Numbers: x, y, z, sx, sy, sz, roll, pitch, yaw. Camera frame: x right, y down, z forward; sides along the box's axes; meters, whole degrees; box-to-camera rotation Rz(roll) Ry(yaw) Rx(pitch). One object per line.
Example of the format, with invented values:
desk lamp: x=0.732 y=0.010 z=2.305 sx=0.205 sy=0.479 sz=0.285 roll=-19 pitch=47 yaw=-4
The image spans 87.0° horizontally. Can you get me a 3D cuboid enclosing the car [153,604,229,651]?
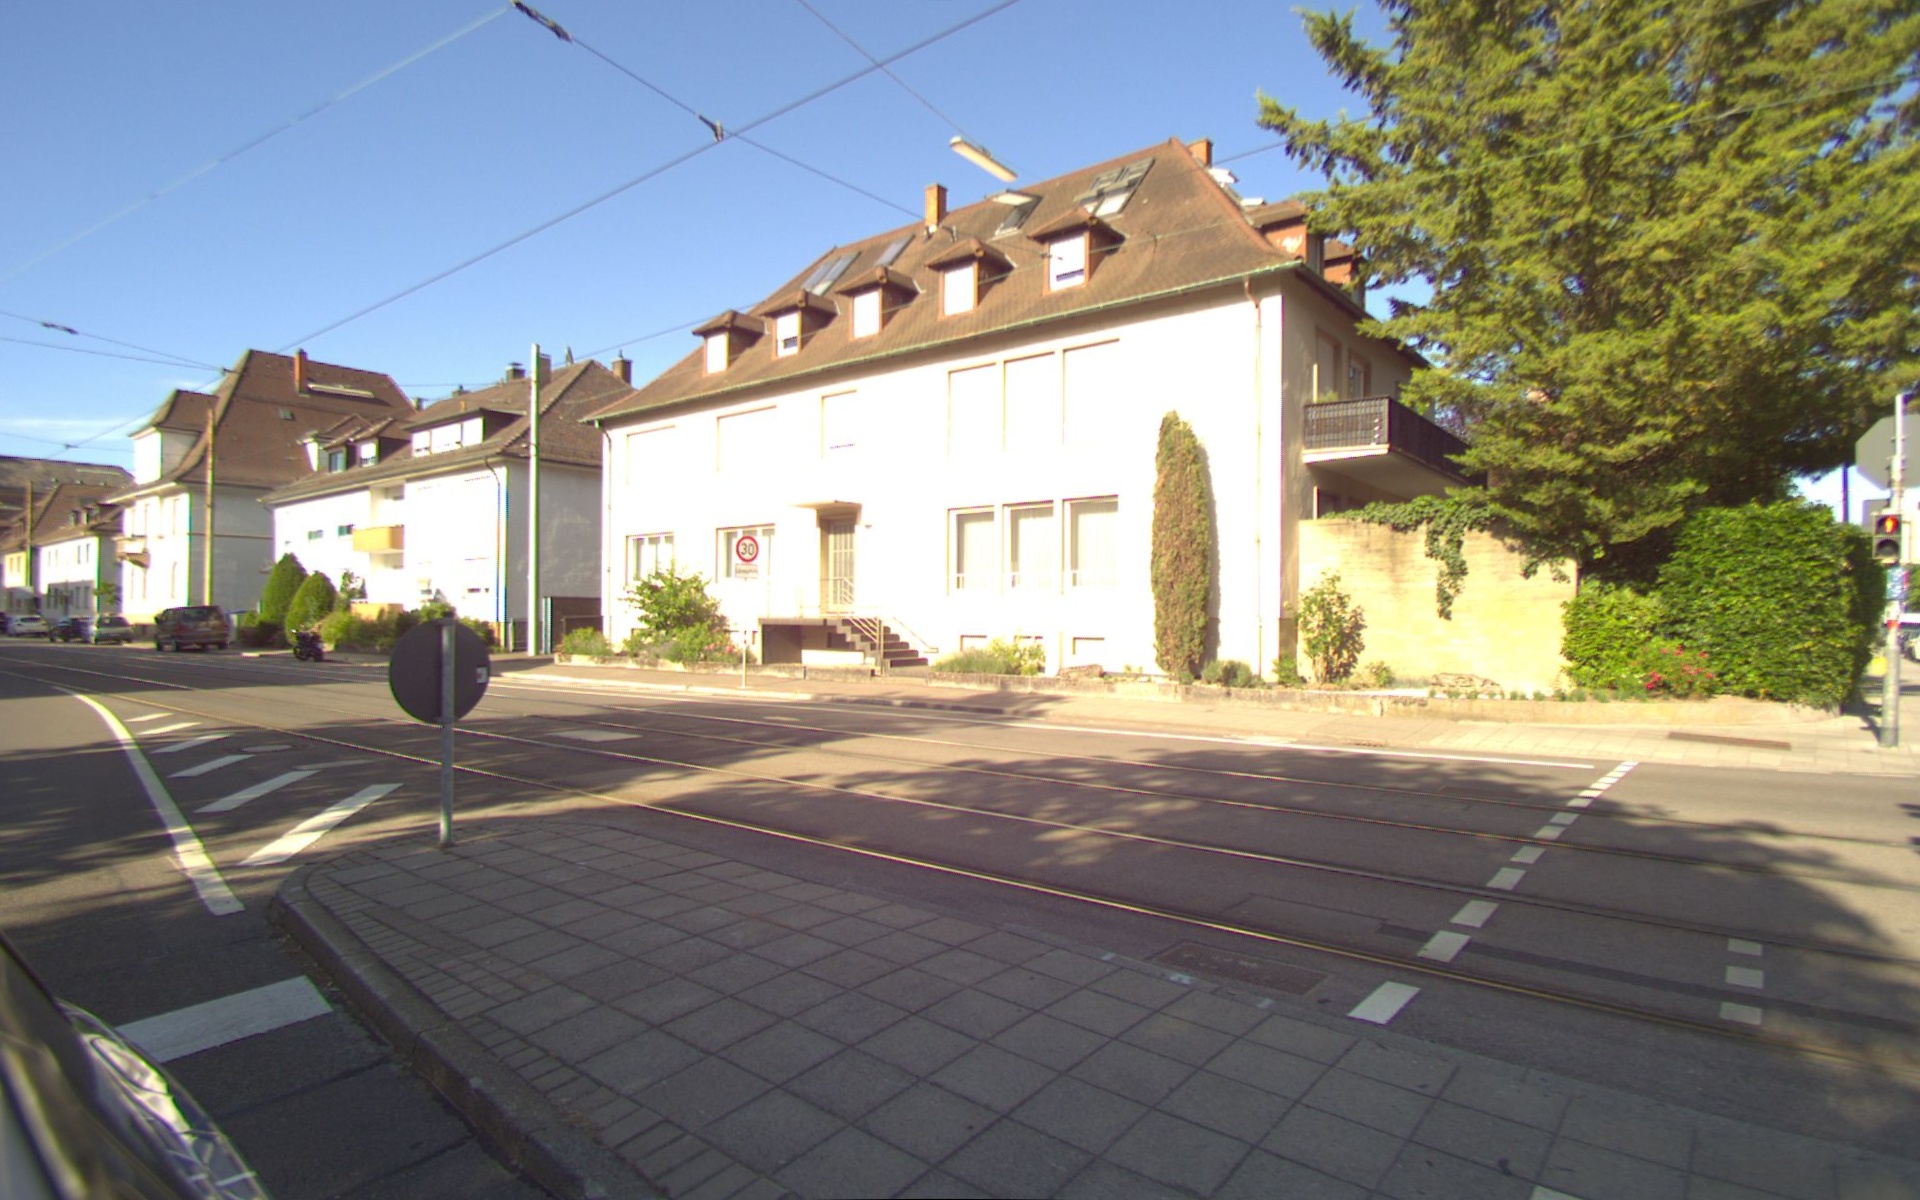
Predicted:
car: x=-33.641 y=1.165 z=44.264 sx=3.998 sy=1.915 sz=1.899 roll=-1 pitch=0 yaw=42

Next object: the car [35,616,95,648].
car: x=-50.095 y=1.767 z=56.630 sx=3.996 sy=1.728 sz=1.900 roll=-1 pitch=0 yaw=39

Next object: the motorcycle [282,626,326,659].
motorcycle: x=-22.359 y=1.439 z=34.476 sx=2.436 sy=1.054 sz=0.598 roll=-1 pitch=0 yaw=41

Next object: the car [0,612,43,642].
car: x=-57.982 y=1.641 z=62.312 sx=4.000 sy=1.728 sz=1.898 roll=-1 pitch=0 yaw=43

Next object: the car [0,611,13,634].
car: x=-72.757 y=1.709 z=75.998 sx=3.997 sy=1.728 sz=1.900 roll=-1 pitch=0 yaw=41

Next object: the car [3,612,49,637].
car: x=-61.446 y=1.589 z=66.569 sx=4.000 sy=1.576 sz=1.898 roll=-1 pitch=0 yaw=43

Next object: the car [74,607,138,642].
car: x=-45.037 y=1.294 z=53.341 sx=3.997 sy=1.728 sz=1.900 roll=-1 pitch=0 yaw=40
